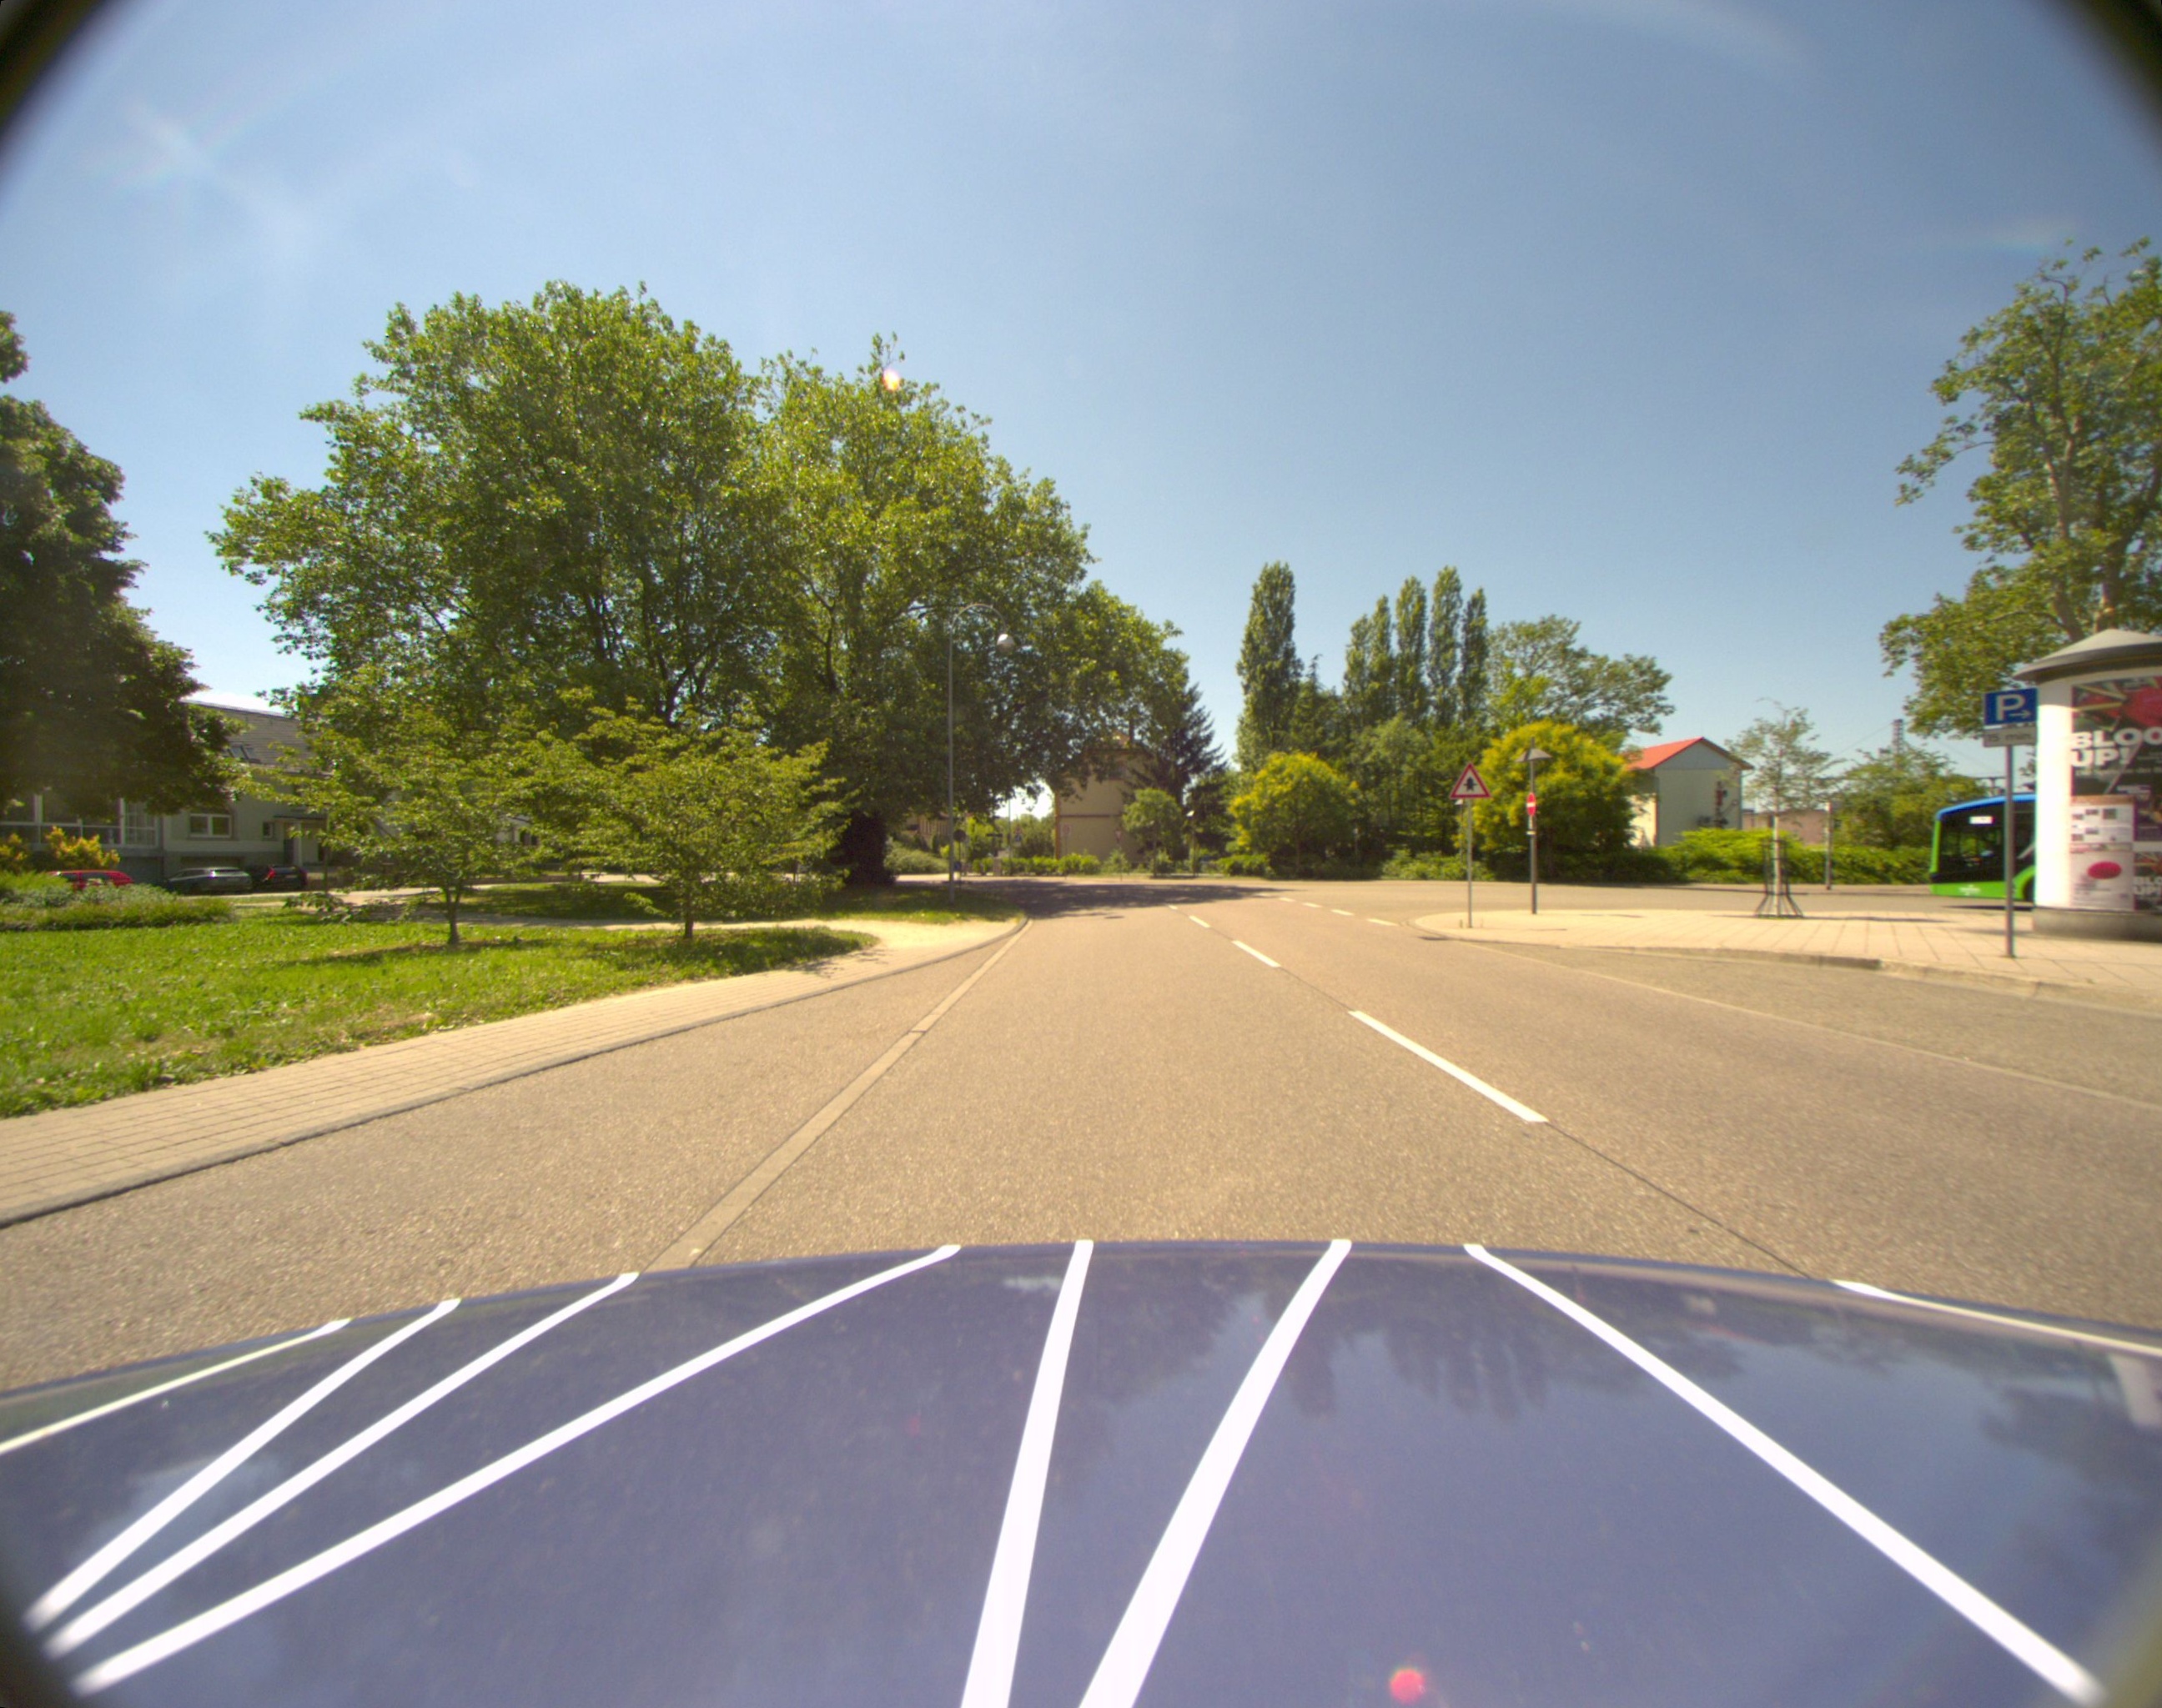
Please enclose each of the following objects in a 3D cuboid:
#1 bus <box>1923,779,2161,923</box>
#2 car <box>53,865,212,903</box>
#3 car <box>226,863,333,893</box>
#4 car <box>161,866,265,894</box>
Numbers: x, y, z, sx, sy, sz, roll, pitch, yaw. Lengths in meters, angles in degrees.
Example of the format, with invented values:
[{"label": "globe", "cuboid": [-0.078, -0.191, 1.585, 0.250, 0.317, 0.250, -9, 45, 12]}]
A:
[{"label": "bus", "cuboid": [27.619, -0.089, 17.293, 2.169, 3.505, 12.213, -1, 0, -8]}, {"label": "car", "cuboid": [-41.667, 1.263, 33.535, 1.751, 1.515, 4.004, 0, 0, 13]}, {"label": "car", "cuboid": [-44.321, 1.304, 42.081, 3.995, 1.559, 2.001, 0, 0, 5]}, {"label": "car", "cuboid": [-44.836, 1.305, 39.279, 3.992, 1.383, 2.002, 0, 0, 16]}]
